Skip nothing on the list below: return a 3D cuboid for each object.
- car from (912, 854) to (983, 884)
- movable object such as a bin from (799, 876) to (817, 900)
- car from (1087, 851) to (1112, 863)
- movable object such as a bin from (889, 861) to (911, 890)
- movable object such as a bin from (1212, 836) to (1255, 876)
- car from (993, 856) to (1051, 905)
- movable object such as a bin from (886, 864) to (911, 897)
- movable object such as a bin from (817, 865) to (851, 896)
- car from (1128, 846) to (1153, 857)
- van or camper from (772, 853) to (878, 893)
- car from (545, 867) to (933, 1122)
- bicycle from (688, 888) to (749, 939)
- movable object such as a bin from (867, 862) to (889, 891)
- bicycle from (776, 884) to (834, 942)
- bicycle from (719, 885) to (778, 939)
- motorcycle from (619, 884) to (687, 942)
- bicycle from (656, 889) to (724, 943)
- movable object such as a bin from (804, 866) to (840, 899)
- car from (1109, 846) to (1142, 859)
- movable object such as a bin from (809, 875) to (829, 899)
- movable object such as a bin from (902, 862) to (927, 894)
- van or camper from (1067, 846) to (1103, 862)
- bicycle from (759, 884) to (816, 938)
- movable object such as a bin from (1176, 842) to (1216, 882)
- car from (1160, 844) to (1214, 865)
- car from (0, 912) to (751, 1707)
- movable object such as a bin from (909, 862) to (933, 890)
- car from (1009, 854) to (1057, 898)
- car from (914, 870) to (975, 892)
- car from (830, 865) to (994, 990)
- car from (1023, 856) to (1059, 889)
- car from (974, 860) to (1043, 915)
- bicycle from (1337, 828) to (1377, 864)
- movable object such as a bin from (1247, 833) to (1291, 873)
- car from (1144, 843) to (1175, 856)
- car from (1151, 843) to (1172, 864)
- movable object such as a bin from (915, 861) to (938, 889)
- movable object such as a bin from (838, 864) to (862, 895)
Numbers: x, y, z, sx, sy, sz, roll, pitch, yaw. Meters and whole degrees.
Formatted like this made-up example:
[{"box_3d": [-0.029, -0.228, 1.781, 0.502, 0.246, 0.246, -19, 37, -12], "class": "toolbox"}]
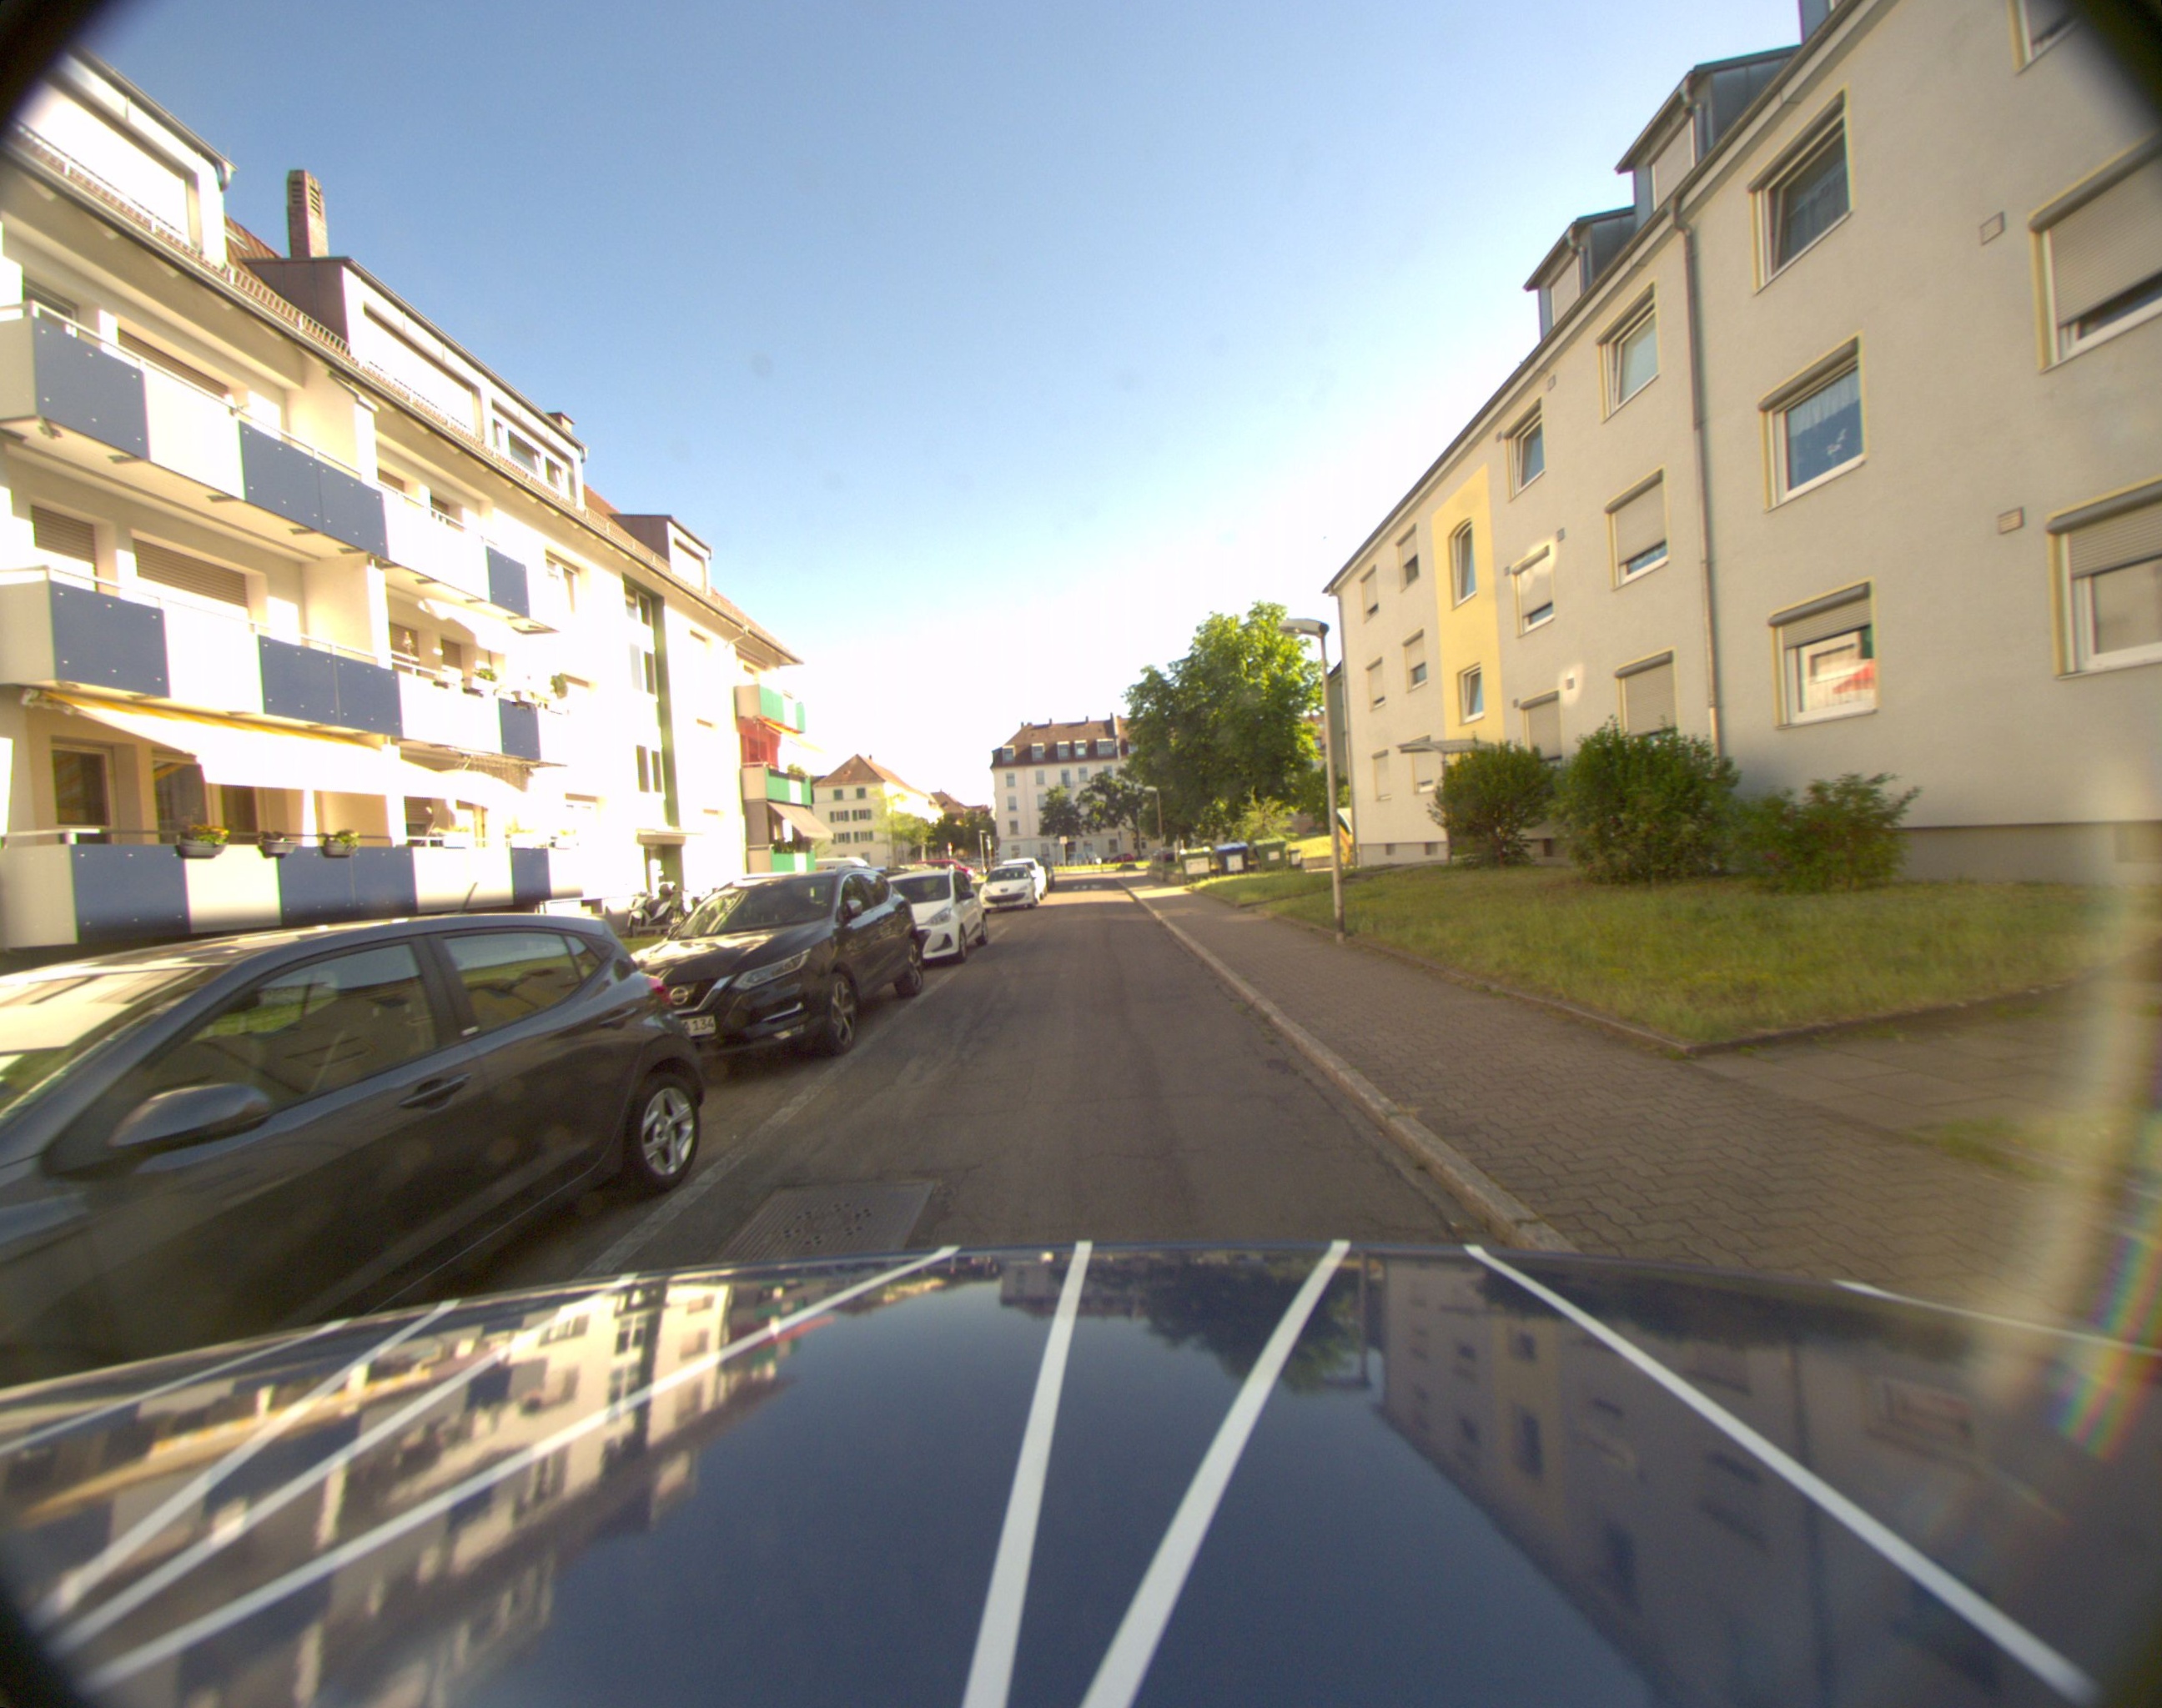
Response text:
[{"box_3d": [-10.315, 1.151, 58.972, 4.992, 2.002, 2.000, -4, 1, 4], "class": "car"}, {"box_3d": [-12.469, 1.558, 34.736, 0.628, 1.047, 0.580, -1, 1, -1], "class": "movable object such as a bin"}, {"box_3d": [2.466, 0.376, 102.030, 3.192, 1.499, 1.545, -3, 0, 1], "class": "car"}, {"box_3d": [-9.299, 1.113, 39.138, 0.866, 1.439, 0.922, -3, 1, -3], "class": "movable object such as a bin"}, {"box_3d": [6.290, 0.091, 31.413, 1.358, 1.451, 1.082, -8, 1, 1], "class": "movable object such as a bin"}, {"box_3d": [-2.259, 0.973, 30.114, 1.805, 1.583, 4.581, -5, 1, 0], "class": "car"}, {"box_3d": [-8.403, 1.199, 35.046, 0.866, 1.439, 0.922, -3, 1, -3], "class": "movable object such as a bin"}, {"box_3d": [-12.350, 1.312, 37.999, 1.239, 1.439, 1.278, -3, 1, -1], "class": "movable object such as a bin"}, {"box_3d": [7.983, -0.353, 102.249, 3.192, 1.311, 1.545, -3, 1, 1], "class": "car"}, {"box_3d": [-18.861, 1.395, 56.273, 6.980, 2.486, 2.177, -3, 1, 3], "class": "van or camper"}, {"box_3d": [-2.784, 1.014, 7.433, 1.728, 1.569, 4.352, -3, 1, 0], "class": "car"}, {"box_3d": [-8.706, 1.401, 18.326, 0.539, 1.076, 1.872, -1, 0, 0], "class": "bicycle"}, {"box_3d": [-10.413, 1.135, 39.002, 0.866, 1.439, 0.922, -3, 1, -3], "class": "movable object such as a bin"}, {"box_3d": [-6.334, 1.334, 17.538, 0.546, 1.163, 1.873, -2, 1, 2], "class": "bicycle"}, {"box_3d": [-7.989, 1.366, 18.343, 0.545, 1.114, 1.872, -2, 0, 0], "class": "bicycle"}, {"box_3d": [-10.432, 1.406, 18.588, 0.442, 1.231, 1.976, -3, 1, 1], "class": "motorcycle"}, {"box_3d": [-9.430, 1.462, 18.396, 0.598, 1.109, 1.872, -3, 0, 0], "class": "bicycle"}, {"box_3d": [-12.446, 1.362, 36.592, 1.239, 1.439, 1.278, -3, 1, -2], "class": "movable object such as a bin"}, {"box_3d": [5.653, -0.216, 96.667, 3.996, 1.477, 1.722, -3, 1, 3], "class": "car"}, {"box_3d": [-12.237, 1.539, 35.447, 0.718, 1.047, 0.580, -1, 1, -1], "class": "movable object such as a bin"}, {"box_3d": [-7.989, 1.154, 36.450, 0.921, 1.439, 0.866, -3, 1, -1], "class": "movable object such as a bin"}, {"box_3d": [0.494, -0.034, 97.071, 4.355, 1.852, 2.000, -3, 1, -1], "class": "van or camper"}, {"box_3d": [-7.034, 1.345, 18.295, 0.579, 1.126, 1.872, -2, 0, 0], "class": "bicycle"}, {"box_3d": [4.723, 0.329, 31.370, 1.318, 1.451, 1.198, -8, 1, 1], "class": "movable object such as a bin"}, {"box_3d": [8.516, 0.017, 61.283, 4.140, 1.488, 1.729, -3, 1, 1], "class": "car"}, {"box_3d": [-2.960, 1.166, 2.487, 1.650, 1.441, 4.061, -6, 1, 4], "class": "car"}, {"box_3d": [-7.934, 1.100, 37.692, 0.921, 1.318, 0.866, -3, 1, -1], "class": "movable object such as a bin"}, {"box_3d": [-2.301, 1.000, 37.322, 1.855, 1.790, 4.253, -7, 1, 0], "class": "car"}, {"box_3d": [-9.977, 1.987, 55.664, 3.996, 1.342, 1.802, -3, 1, 3], "class": "car"}, {"box_3d": [-2.625, 1.071, 12.735, 1.717, 1.501, 3.853, -7, 1, 0], "class": "car"}, {"box_3d": [-2.217, 1.016, 42.944, 1.728, 1.528, 3.951, -6, 1, -1], "class": "car"}, {"box_3d": [-2.277, 1.016, 24.801, 1.695, 1.410, 4.097, -6, 1, 0], "class": "car"}, {"box_3d": [10.087, -0.288, 27.839, 0.641, 1.243, 2.009, -5, 1, 1], "class": "bicycle"}, {"box_3d": [7.765, -0.033, 31.414, 1.363, 1.445, 1.073, -8, 1, 1], "class": "movable object such as a bin"}, {"box_3d": [9.939, -0.625, 96.570, 3.787, 1.437, 1.625, -3, 1, 3], "class": "car"}, {"box_3d": [6.791, -0.073, 64.466, 1.678, 1.645, 3.305, -3, 1, 5], "class": "car"}, {"box_3d": [-7.913, 1.063, 38.918, 0.921, 1.390, 0.866, -3, 1, -1], "class": "movable object such as a bin"}, {"box_3d": [-11.894, 1.303, 39.149, 0.866, 1.511, 0.922, -3, 1, -1], "class": "movable object such as a bin"}]
